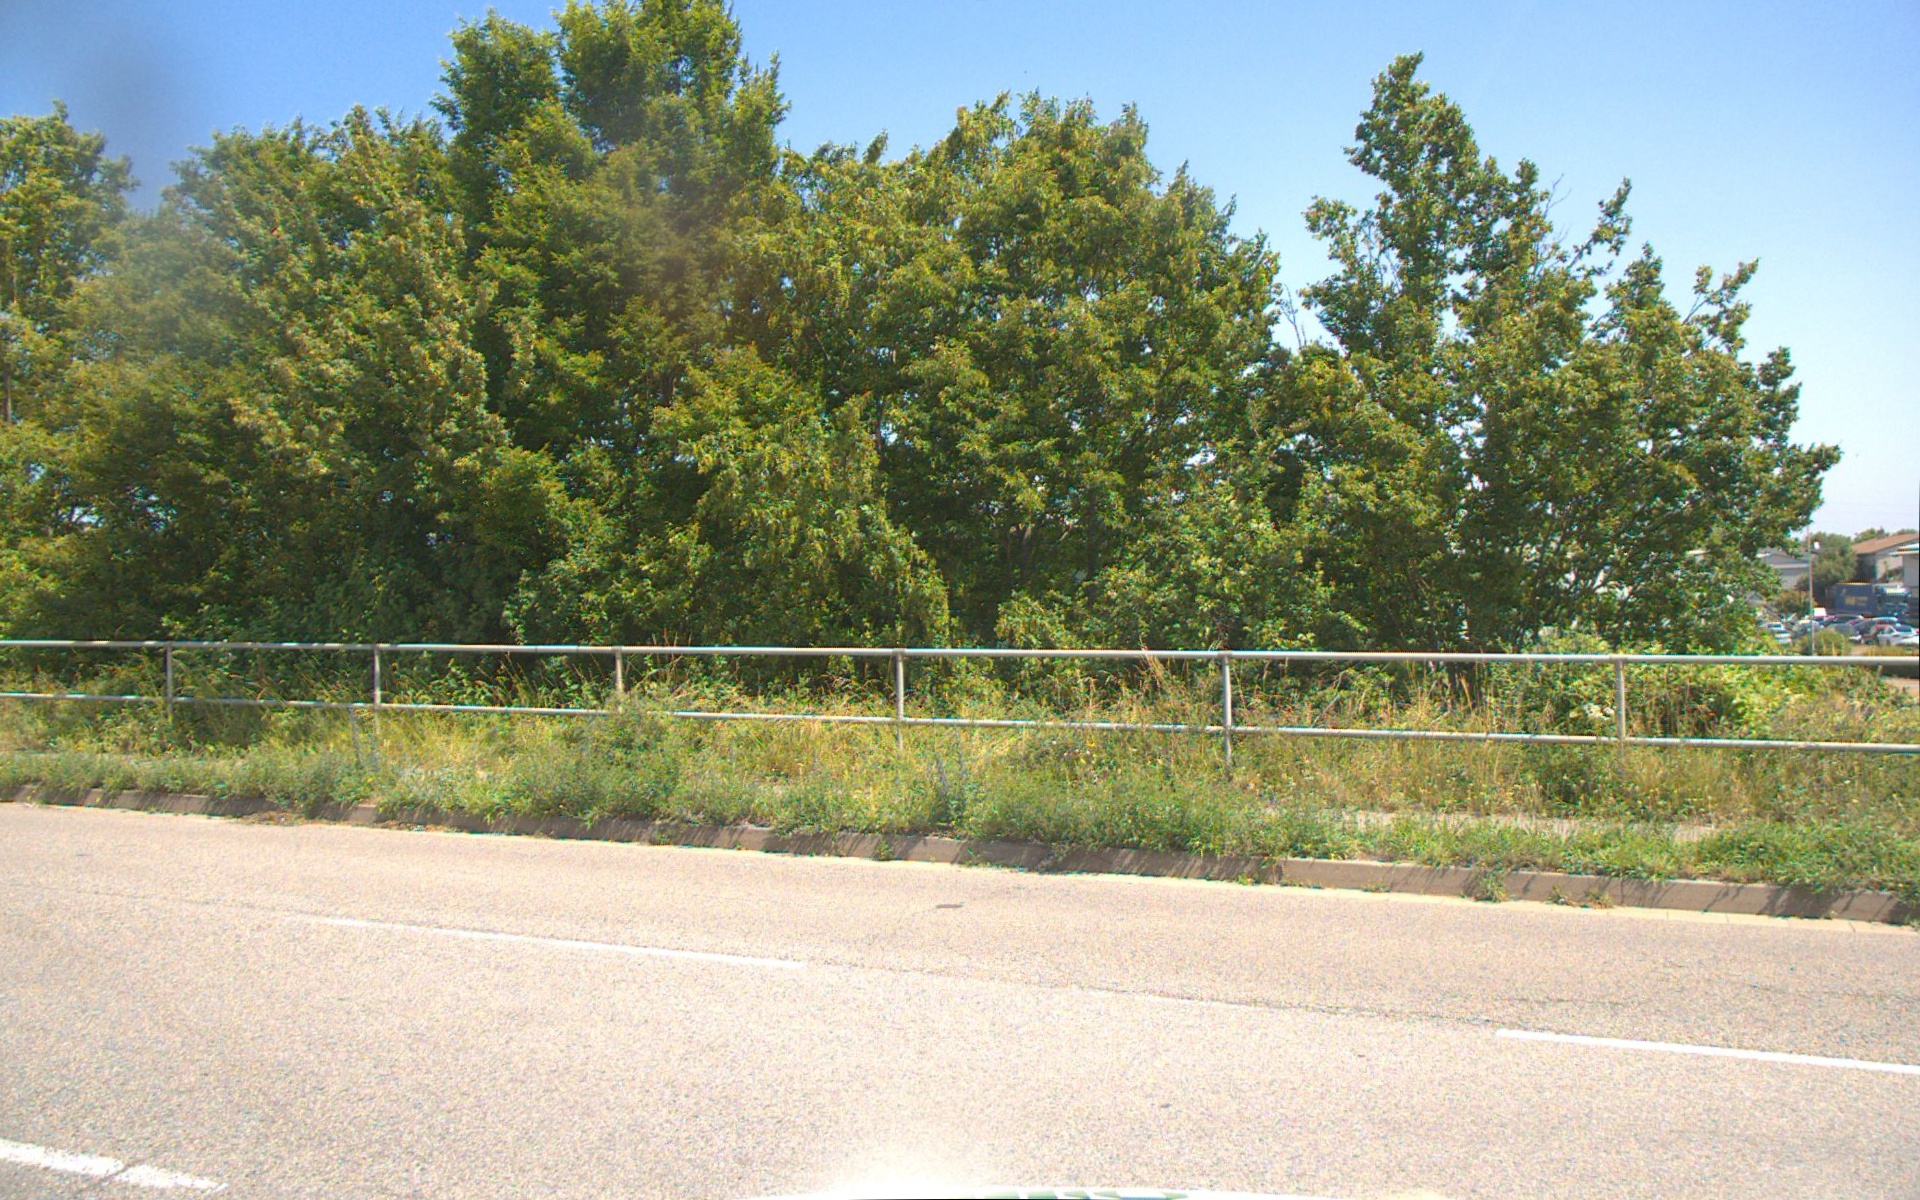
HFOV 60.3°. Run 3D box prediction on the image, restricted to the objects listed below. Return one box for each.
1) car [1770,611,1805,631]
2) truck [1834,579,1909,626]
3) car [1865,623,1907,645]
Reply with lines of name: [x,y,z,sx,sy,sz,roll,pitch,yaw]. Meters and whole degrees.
car: [74.690,1.866,149.354,1.951,1.761,4.866,0,0,16]
truck: [88.791,0.211,161.386,3.340,4.386,14.601,-1,0,17]
car: [64.887,2.371,115.966,1.647,1.387,3.838,-4,-1,16]
